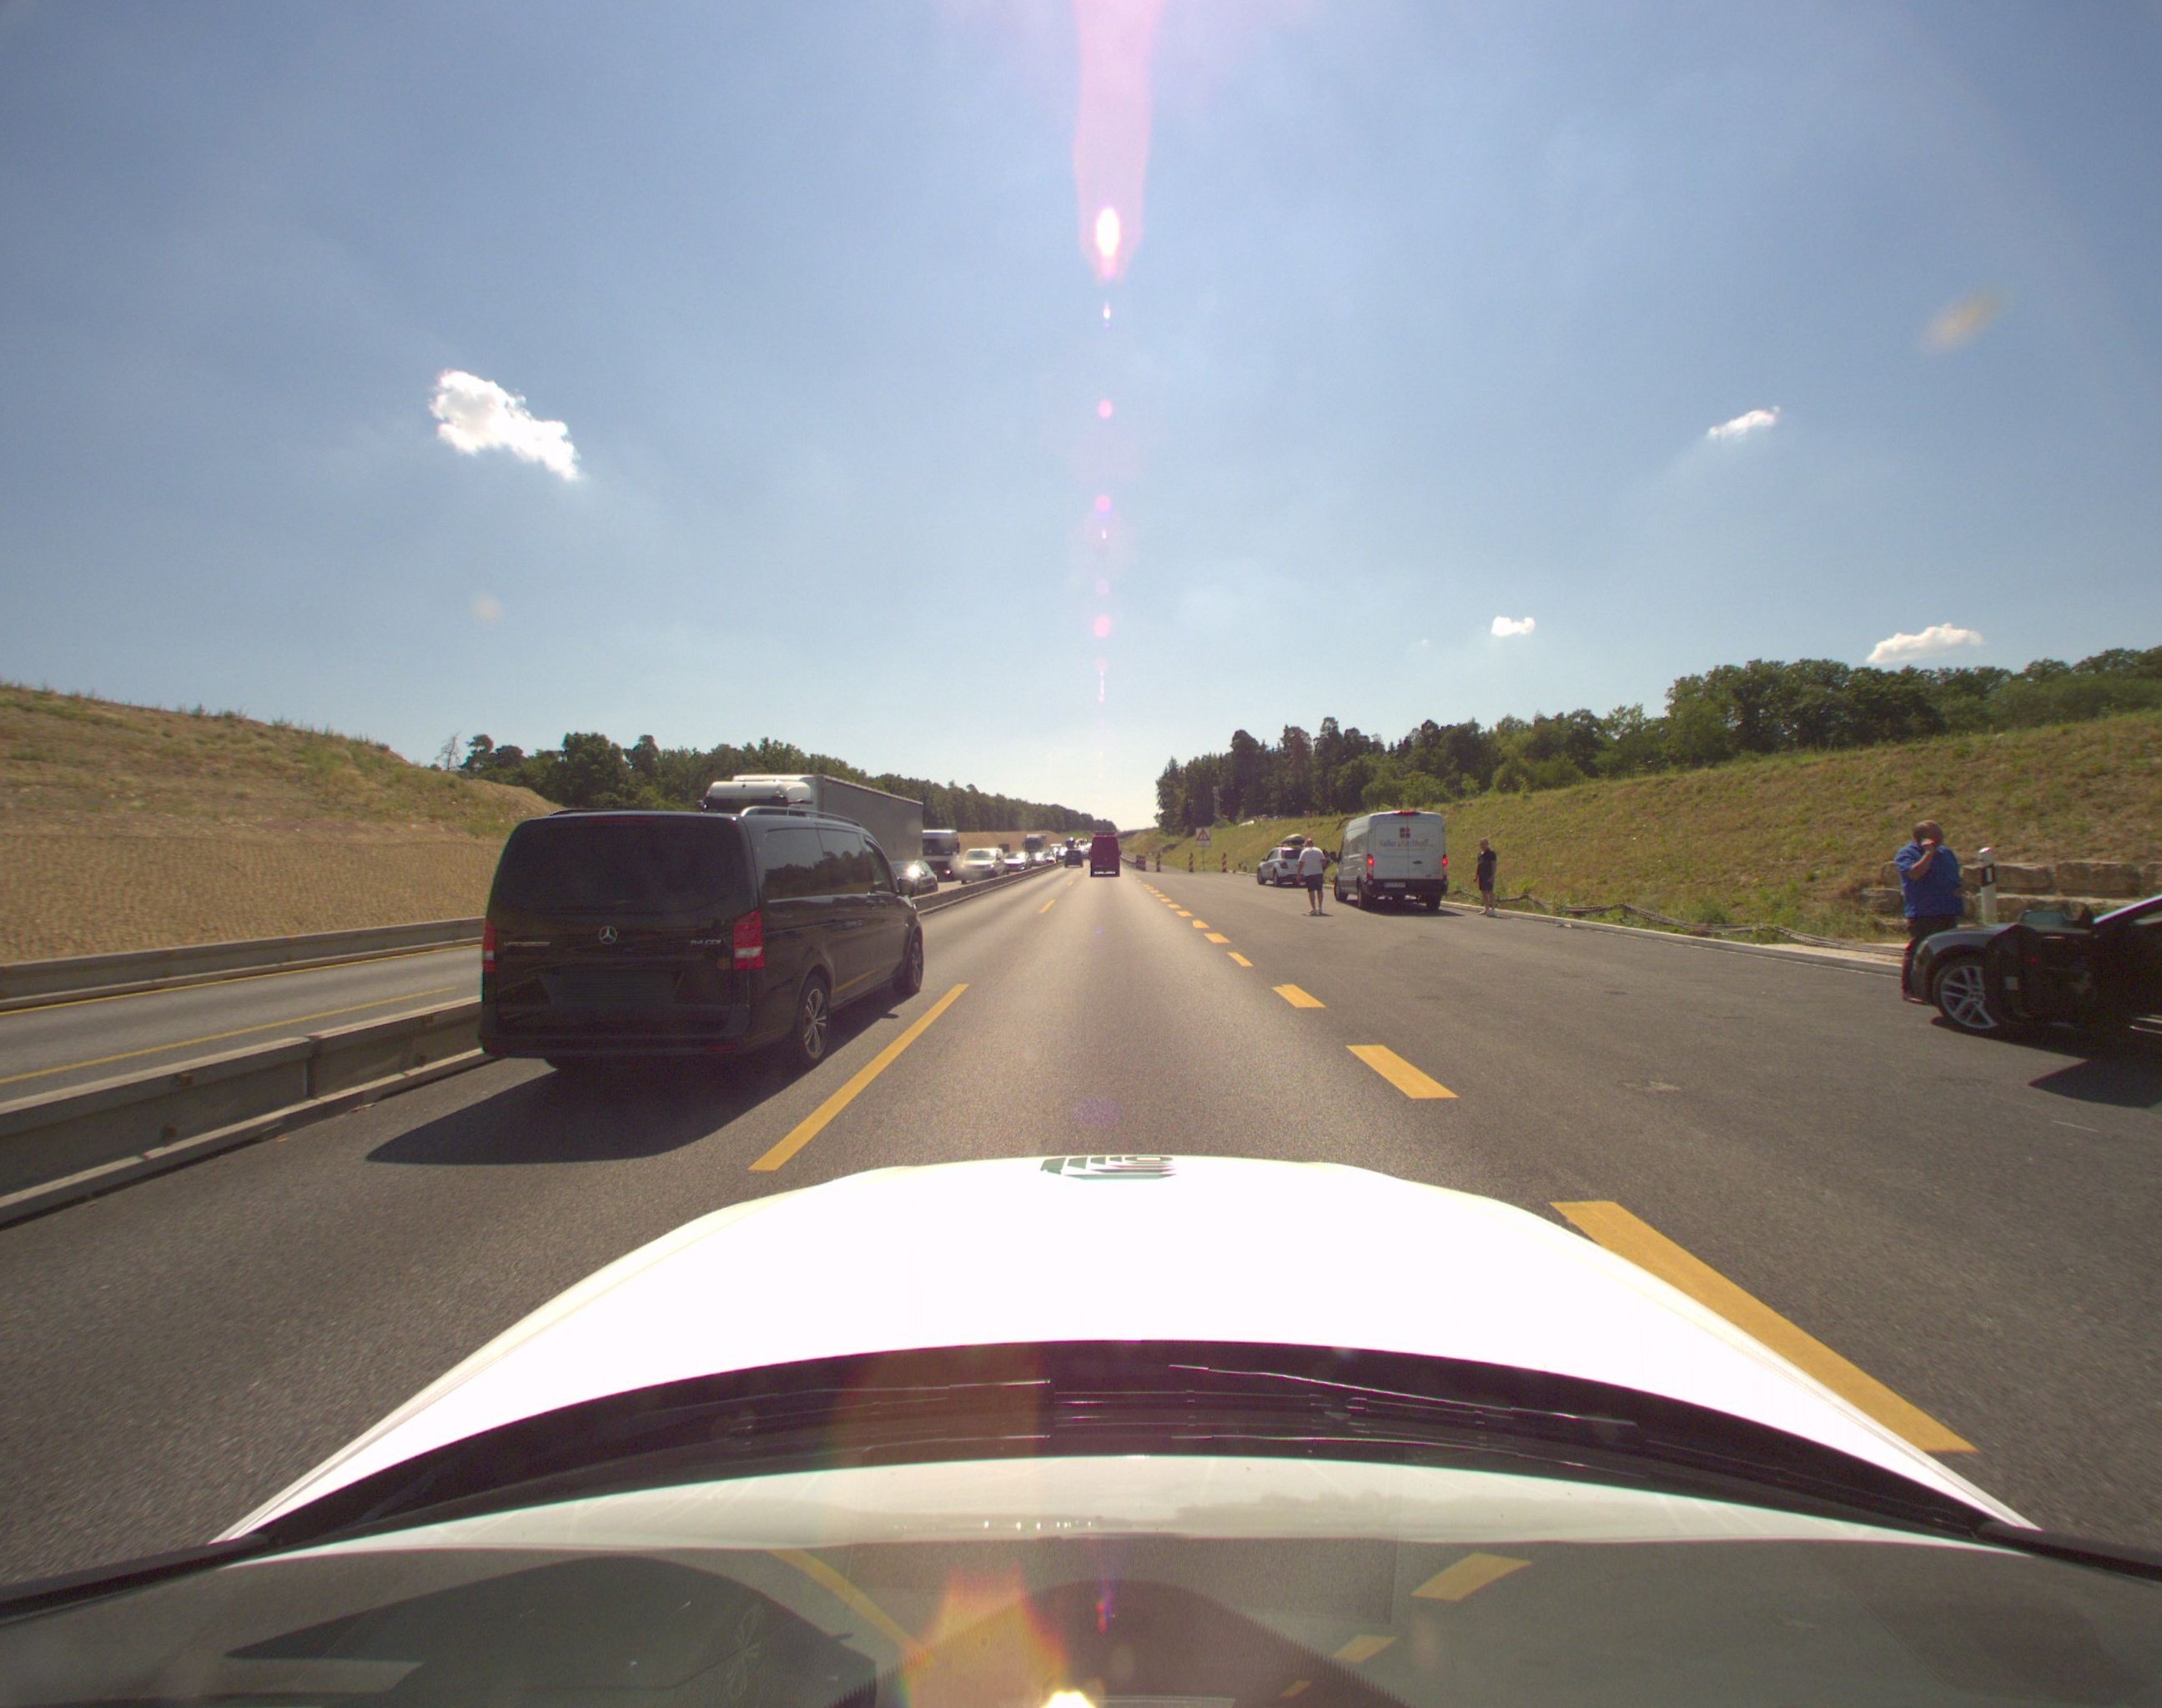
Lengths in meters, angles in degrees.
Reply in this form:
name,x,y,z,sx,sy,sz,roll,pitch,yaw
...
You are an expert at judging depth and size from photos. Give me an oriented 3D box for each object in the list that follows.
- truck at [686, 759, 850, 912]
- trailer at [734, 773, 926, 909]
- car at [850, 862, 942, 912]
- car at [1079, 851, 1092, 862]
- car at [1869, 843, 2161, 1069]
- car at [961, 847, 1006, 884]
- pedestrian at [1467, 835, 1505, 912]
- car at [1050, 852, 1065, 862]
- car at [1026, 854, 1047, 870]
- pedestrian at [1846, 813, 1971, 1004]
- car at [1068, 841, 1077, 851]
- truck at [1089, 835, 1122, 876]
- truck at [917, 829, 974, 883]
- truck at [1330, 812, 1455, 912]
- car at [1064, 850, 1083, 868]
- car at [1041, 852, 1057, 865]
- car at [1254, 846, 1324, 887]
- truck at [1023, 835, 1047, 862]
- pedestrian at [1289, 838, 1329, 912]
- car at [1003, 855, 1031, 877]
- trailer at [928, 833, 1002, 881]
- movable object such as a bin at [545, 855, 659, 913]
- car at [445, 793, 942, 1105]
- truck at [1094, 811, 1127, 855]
name,x,y,z,sx,sy,sz,roll,pitch,yaw
truck,-9.016,-0.453,24.085,2.758,4.044,4.945,0,-1,2
trailer,-8.815,-0.391,31.221,2.780,4.075,13.715,0,0,1
car,-5.542,0.975,24.976,1.721,1.387,4.484,0,-1,1
car,0.694,0.357,123.275,1.824,1.522,3.962,0,-1,2
car,7.944,0.673,5.125,1.647,1.426,4.547,-3,0,2
car,-5.370,0.657,45.440,1.819,1.927,5.263,0,-1,1
pedestrian,9.576,0.463,19.277,0.561,1.795,0.667,0,-1,0
car,-3.469,0.471,120.808,1.834,1.327,3.944,0,-1,3
car,-4.314,0.803,80.197,1.618,1.557,4.072,0,-1,3
pedestrian,8.268,0.521,8.158,0.624,1.828,0.640,0,0,-10
car,-2.422,-2.271,234.016,2.377,2.580,3.999,0,-1,0
truck,1.649,0.139,54.930,2.145,2.590,5.334,0,-1,1
truck,-8.128,0.172,49.298,2.389,3.059,5.065,0,-1,2
truck,8.611,0.179,23.127,2.117,2.457,5.940,0,0,9
car,-0.748,0.486,83.339,1.745,1.824,4.784,0,0,2
car,-3.809,0.571,98.022,1.677,1.596,3.225,0,-1,1
car,9.225,0.509,36.493,1.770,1.677,4.851,0,1,-2
truck,-6.524,-0.698,117.803,2.499,3.617,9.646,0,-1,2
pedestrian,5.722,0.516,20.463,0.723,1.828,0.718,0,-1,-7
car,-4.796,0.929,61.530,1.719,1.630,4.390,0,-1,0
trailer,-7.822,0.221,57.319,2.337,2.932,15.278,0,0,2
movable object such as a bin,-28.295,1.656,48.509,2.160,3.109,7.169,-3,0,2
car,-2.785,0.585,7.601,1.867,1.851,5.480,0,0,2
truck,4.173,-2.792,117.370,4.384,5.496,16.608,0,-1,2
